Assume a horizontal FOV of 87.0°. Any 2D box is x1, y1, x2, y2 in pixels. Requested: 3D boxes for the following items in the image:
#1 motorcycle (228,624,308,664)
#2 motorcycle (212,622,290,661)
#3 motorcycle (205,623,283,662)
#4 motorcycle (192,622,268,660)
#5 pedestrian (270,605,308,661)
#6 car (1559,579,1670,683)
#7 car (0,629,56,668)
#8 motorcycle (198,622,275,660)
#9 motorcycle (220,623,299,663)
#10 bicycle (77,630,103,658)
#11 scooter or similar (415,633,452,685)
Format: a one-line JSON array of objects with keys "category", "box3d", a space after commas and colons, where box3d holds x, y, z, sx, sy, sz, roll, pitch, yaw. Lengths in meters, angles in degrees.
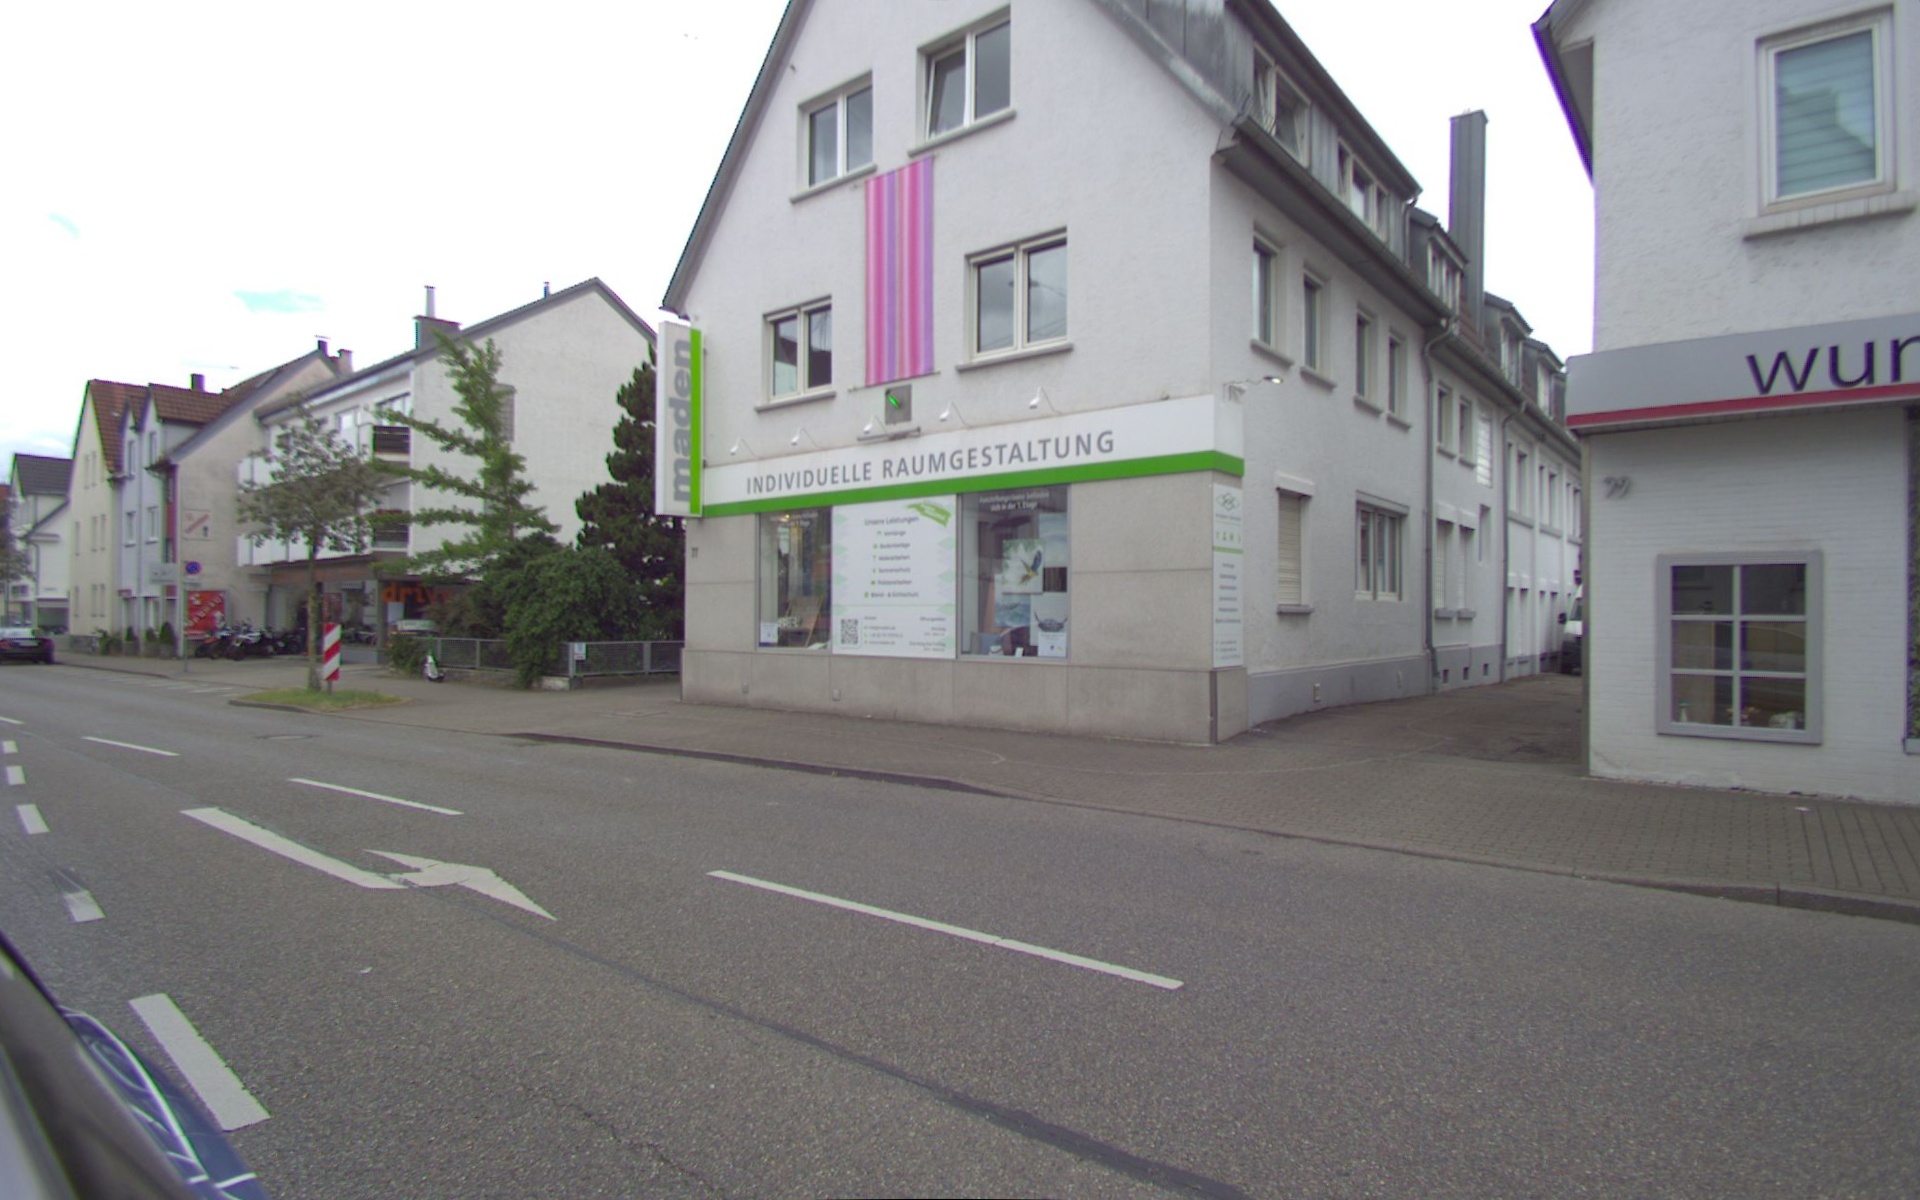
[{"category": "motorcycle", "box3d": [-24.339, 1.521, 35.641, 0.612, 1.275, 2.204, -1, 1, 38]}, {"category": "motorcycle", "box3d": [-25.681, 1.493, 36.702, 0.612, 1.275, 2.204, -1, 1, 38]}, {"category": "motorcycle", "box3d": [-26.285, 1.547, 37.181, 0.698, 1.275, 2.204, -1, 1, 38]}, {"category": "motorcycle", "box3d": [-27.464, 1.527, 38.120, 0.612, 1.275, 2.204, -1, 1, 38]}, {"category": "pedestrian", "box3d": [-23.261, 1.132, 35.088, 1.019, 1.863, 0.744, -1, 2, 40]}, {"category": "car", "box3d": [18.155, 0.749, 27.920, 1.957, 2.527, 5.918, 2, 1, 38]}, {"category": "car", "box3d": [-36.259, 1.826, 38.744, 4.337, 1.428, 1.770, -1, -2, 39]}, {"category": "motorcycle", "box3d": [-26.890, 1.516, 37.658, 0.612, 1.275, 2.204, -1, 1, 38]}, {"category": "motorcycle", "box3d": [-25.020, 1.521, 36.200, 0.612, 1.275, 2.204, -1, 1, 38]}, {"category": "bicycle", "box3d": [-37.669, 1.893, 43.821, 2.022, 1.205, 0.509, -1, -1, 39]}, {"category": "scooter or similar", "box3d": [-12.004, 1.330, 23.049, 1.179, 1.120, 0.336, -1, -1, 41]}]
